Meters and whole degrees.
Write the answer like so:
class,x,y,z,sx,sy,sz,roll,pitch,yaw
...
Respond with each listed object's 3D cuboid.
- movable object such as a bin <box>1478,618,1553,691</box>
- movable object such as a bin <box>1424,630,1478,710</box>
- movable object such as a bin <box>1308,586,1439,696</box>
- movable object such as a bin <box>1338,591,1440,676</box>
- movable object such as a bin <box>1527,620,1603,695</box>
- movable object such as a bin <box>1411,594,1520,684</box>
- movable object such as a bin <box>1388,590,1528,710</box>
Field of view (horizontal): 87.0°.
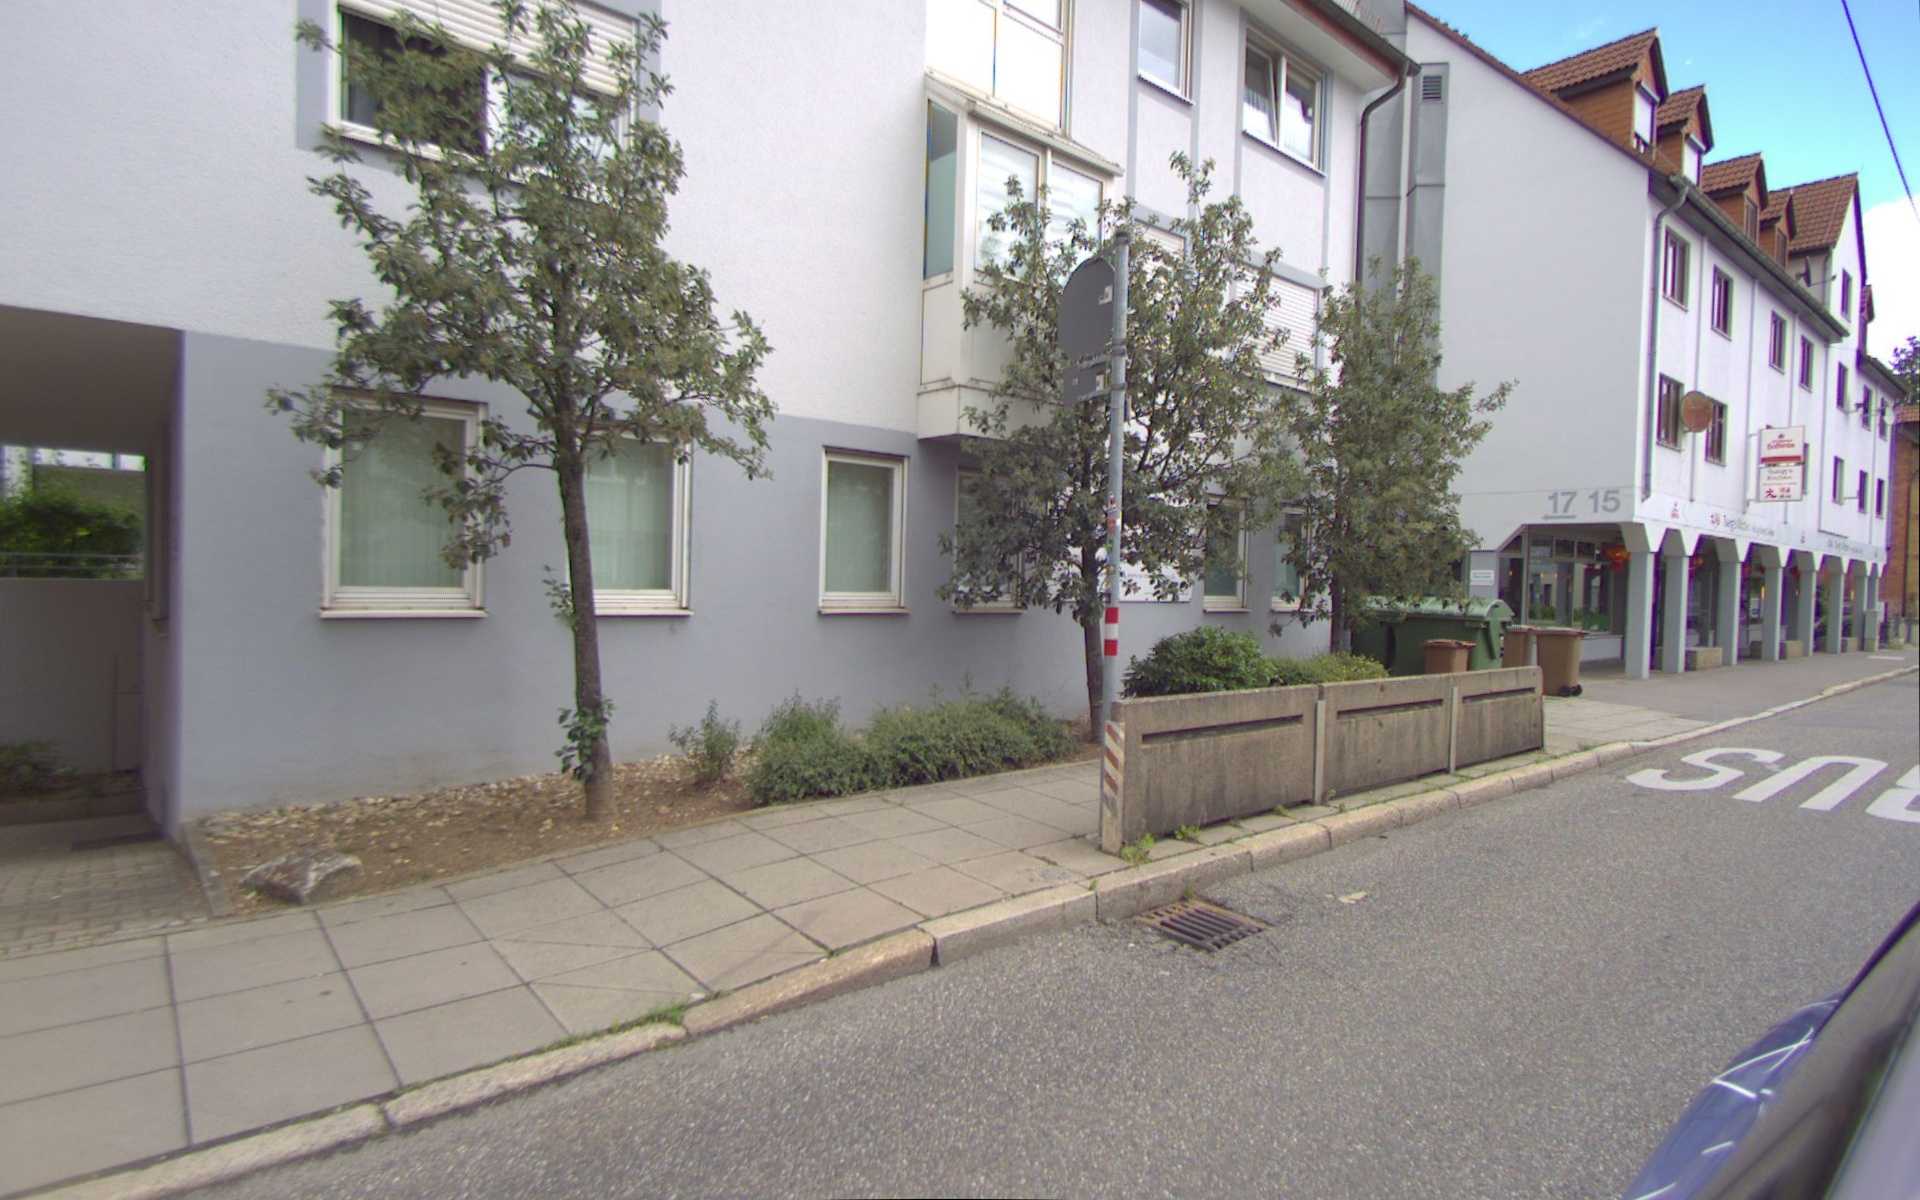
class,x,y,z,sx,sy,sz,roll,pitch,yaw
movable object such as a bin,8.978,0.860,16.347,0.953,1.092,0.700,1,1,-37
movable object such as a bin,6.072,0.854,12.526,0.457,0.932,0.431,1,1,-40
movable object such as a bin,5.936,0.555,14.550,1.284,1.453,1.270,1,1,-40
movable object such as a bin,7.773,0.590,18.364,1.236,1.435,1.213,1,1,-37
movable object such as a bin,9.426,0.875,15.768,0.953,1.080,0.685,1,1,-37
movable object such as a bin,8.634,0.638,17.303,1.236,1.435,1.213,1,1,-37
movable object such as a bin,6.510,0.615,13.254,1.141,1.435,1.270,1,1,-40
